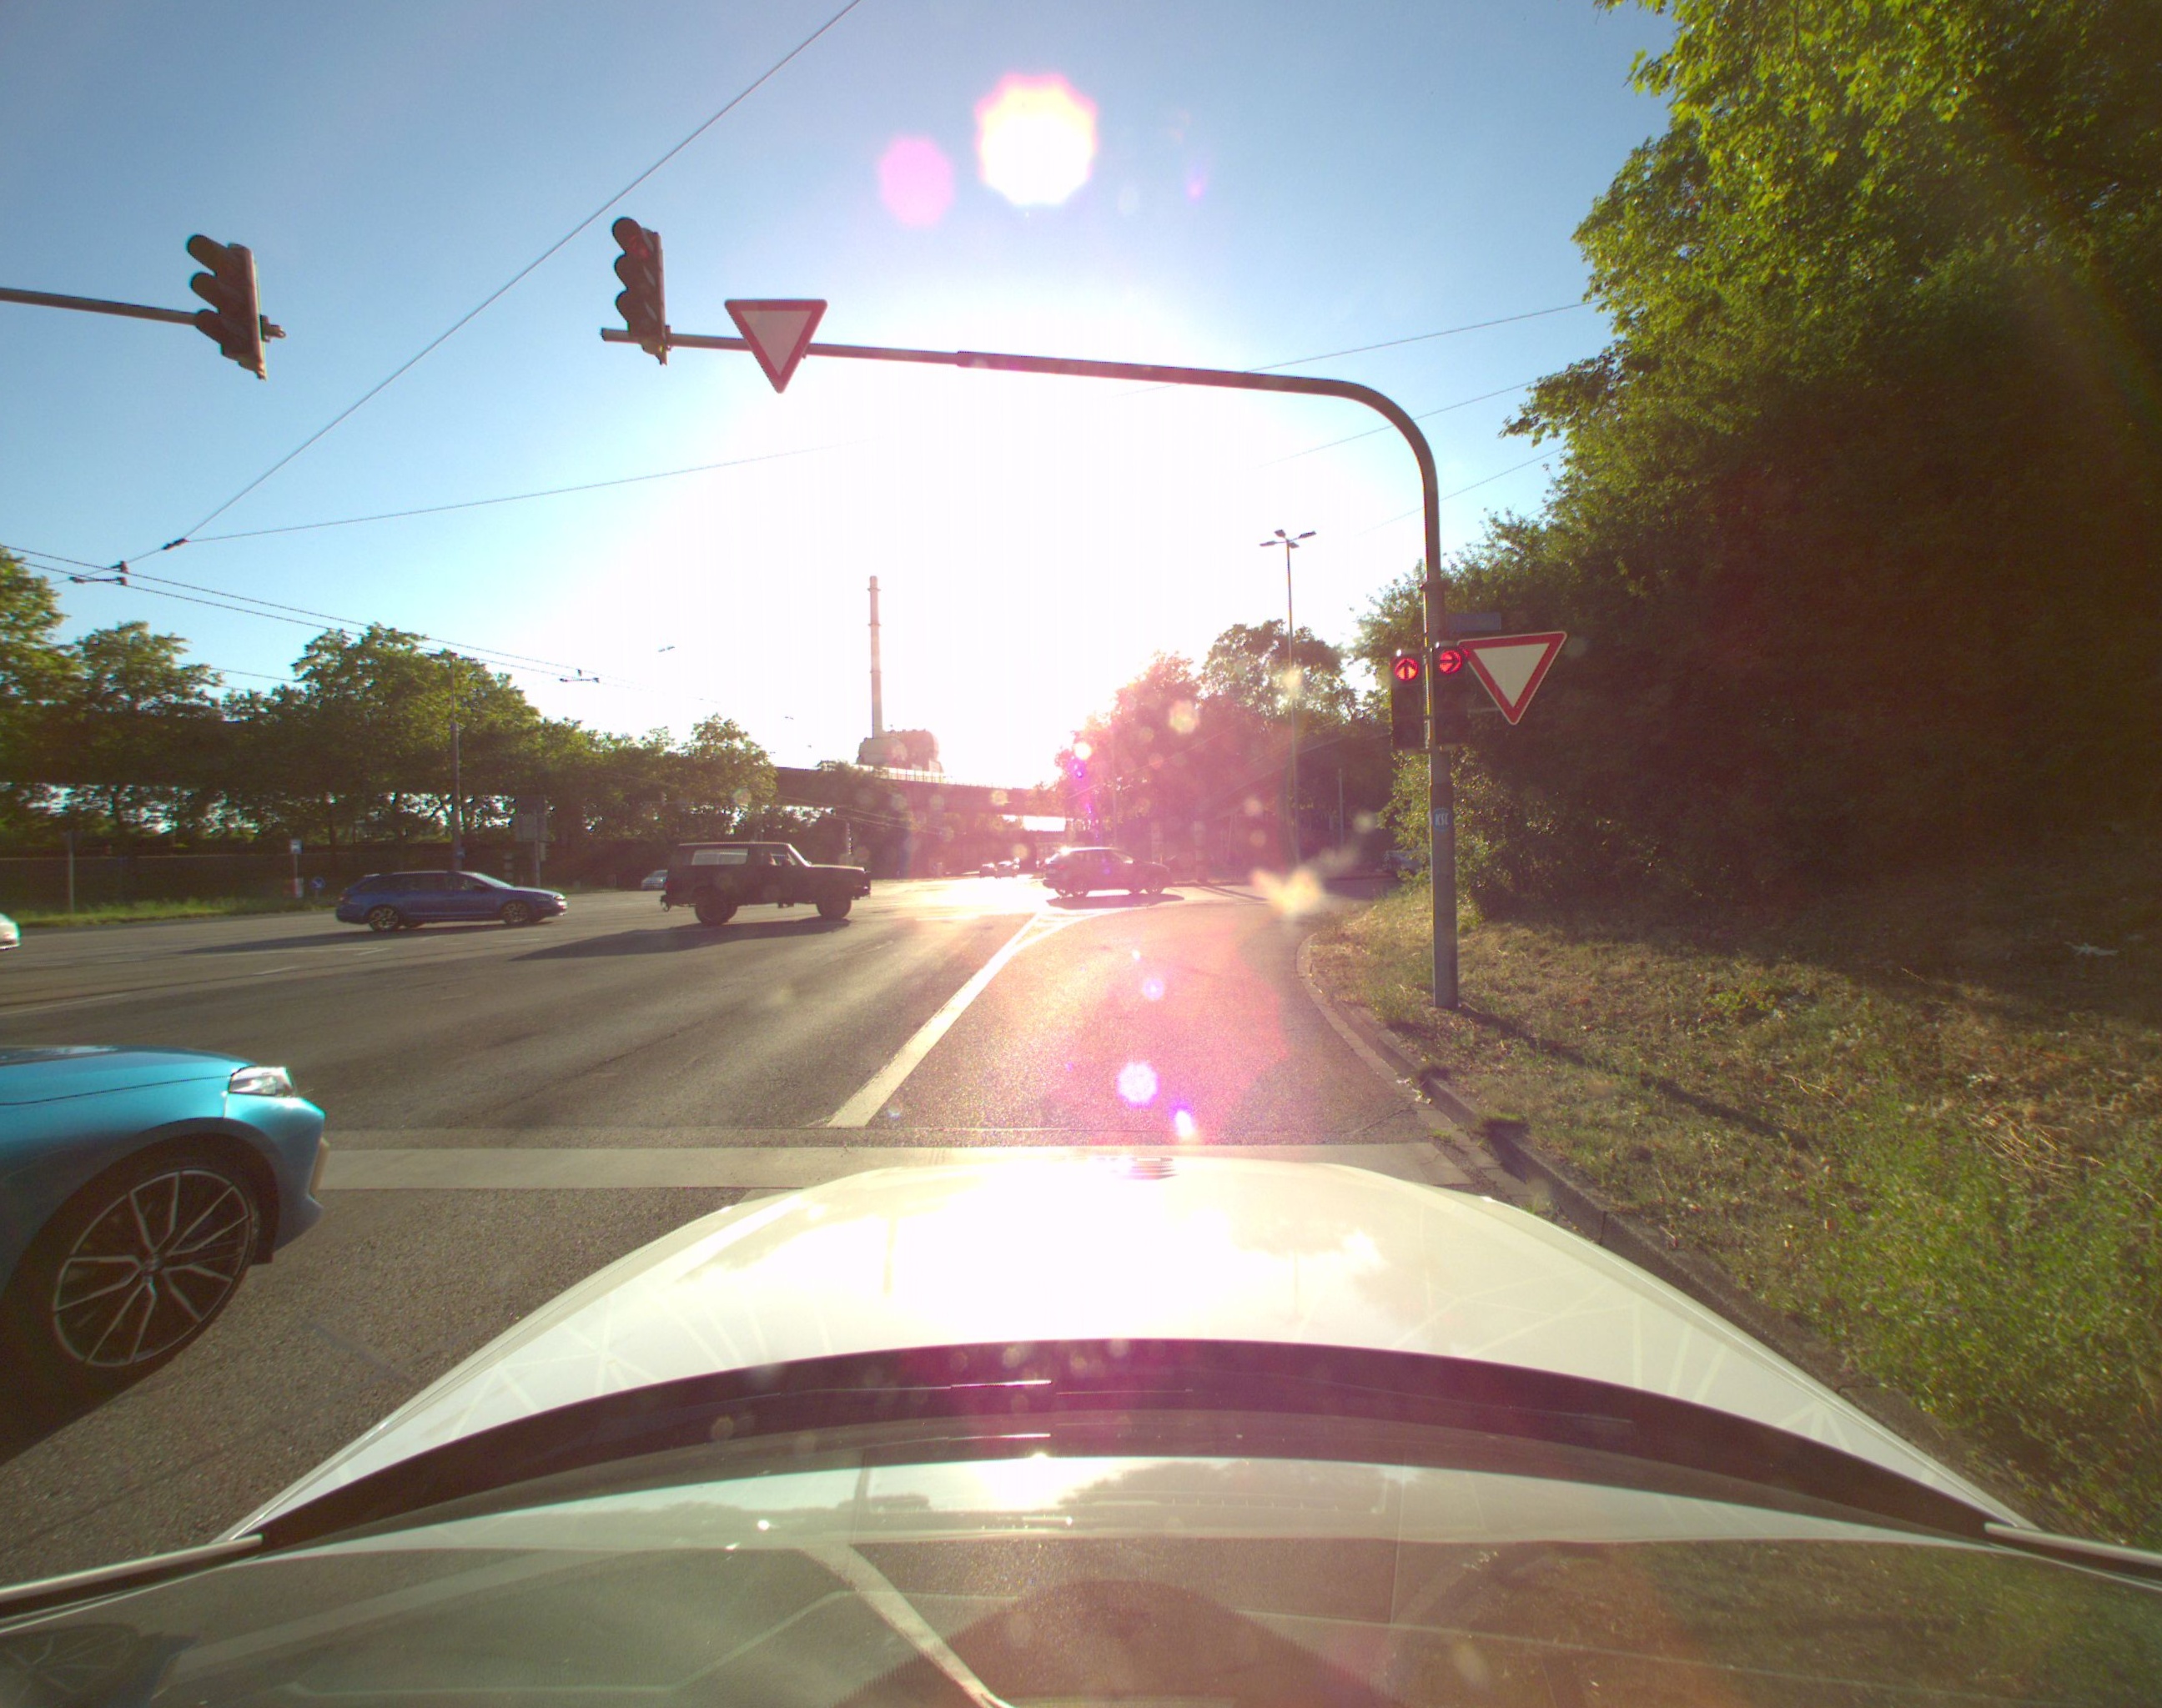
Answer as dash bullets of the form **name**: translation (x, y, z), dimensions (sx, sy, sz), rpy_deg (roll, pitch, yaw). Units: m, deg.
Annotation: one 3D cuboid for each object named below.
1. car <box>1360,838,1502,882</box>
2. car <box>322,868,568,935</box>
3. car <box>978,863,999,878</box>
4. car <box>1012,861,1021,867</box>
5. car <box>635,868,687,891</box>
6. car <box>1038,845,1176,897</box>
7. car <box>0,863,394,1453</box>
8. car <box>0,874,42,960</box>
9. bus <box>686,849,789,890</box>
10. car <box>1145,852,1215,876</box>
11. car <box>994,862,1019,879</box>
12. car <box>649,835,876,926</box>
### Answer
- **car**: translation (13.776, 0.205, 32.046), dimensions (5.366, 1.575, 1.729), rpy_deg (-1, 0, -19)
- **car**: translation (-16.004, 1.143, 20.803), dimensions (4.627, 1.459, 1.682), rpy_deg (-1, 0, -21)
- **car**: translation (-9.767, 1.719, 86.199), dimensions (1.660, 1.405, 4.444), rpy_deg (-1, 0, 0)
- **car**: translation (-16.355, 2.608, 205.724), dimensions (1.600, 1.419, 4.012), rpy_deg (-1, 0, 3)
- **car**: translation (-30.131, 1.817, 58.567), dimensions (1.601, 1.512, 4.007), rpy_deg (-1, 0, 0)
- **car**: translation (0.859, 0.547, 27.113), dimensions (4.250, 1.575, 1.682), rpy_deg (-1, 0, -20)
- **car**: translation (-3.566, 0.797, 1.107), dimensions (1.709, 1.466, 4.205), rpy_deg (-2, 0, -1)
- **car**: translation (-22.214, 1.216, 14.242), dimensions (4.768, 1.575, 1.682), rpy_deg (-1, 0, -21)
- **bus**: translation (-29.477, 1.384, 70.750), dimensions (2.532, 3.130, 12.931), rpy_deg (-2, -2, 4)
- **car**: translation (6.911, 0.669, 56.991), dimensions (4.585, 1.575, 1.685), rpy_deg (-1, 0, -16)
- **car**: translation (-6.456, 1.405, 71.220), dimensions (1.659, 1.405, 4.199), rpy_deg (-1, 0, 2)
- **car**: translation (-7.698, 0.586, 20.090), dimensions (4.945, 1.991, 2.023), rpy_deg (-1, 0, -20)
